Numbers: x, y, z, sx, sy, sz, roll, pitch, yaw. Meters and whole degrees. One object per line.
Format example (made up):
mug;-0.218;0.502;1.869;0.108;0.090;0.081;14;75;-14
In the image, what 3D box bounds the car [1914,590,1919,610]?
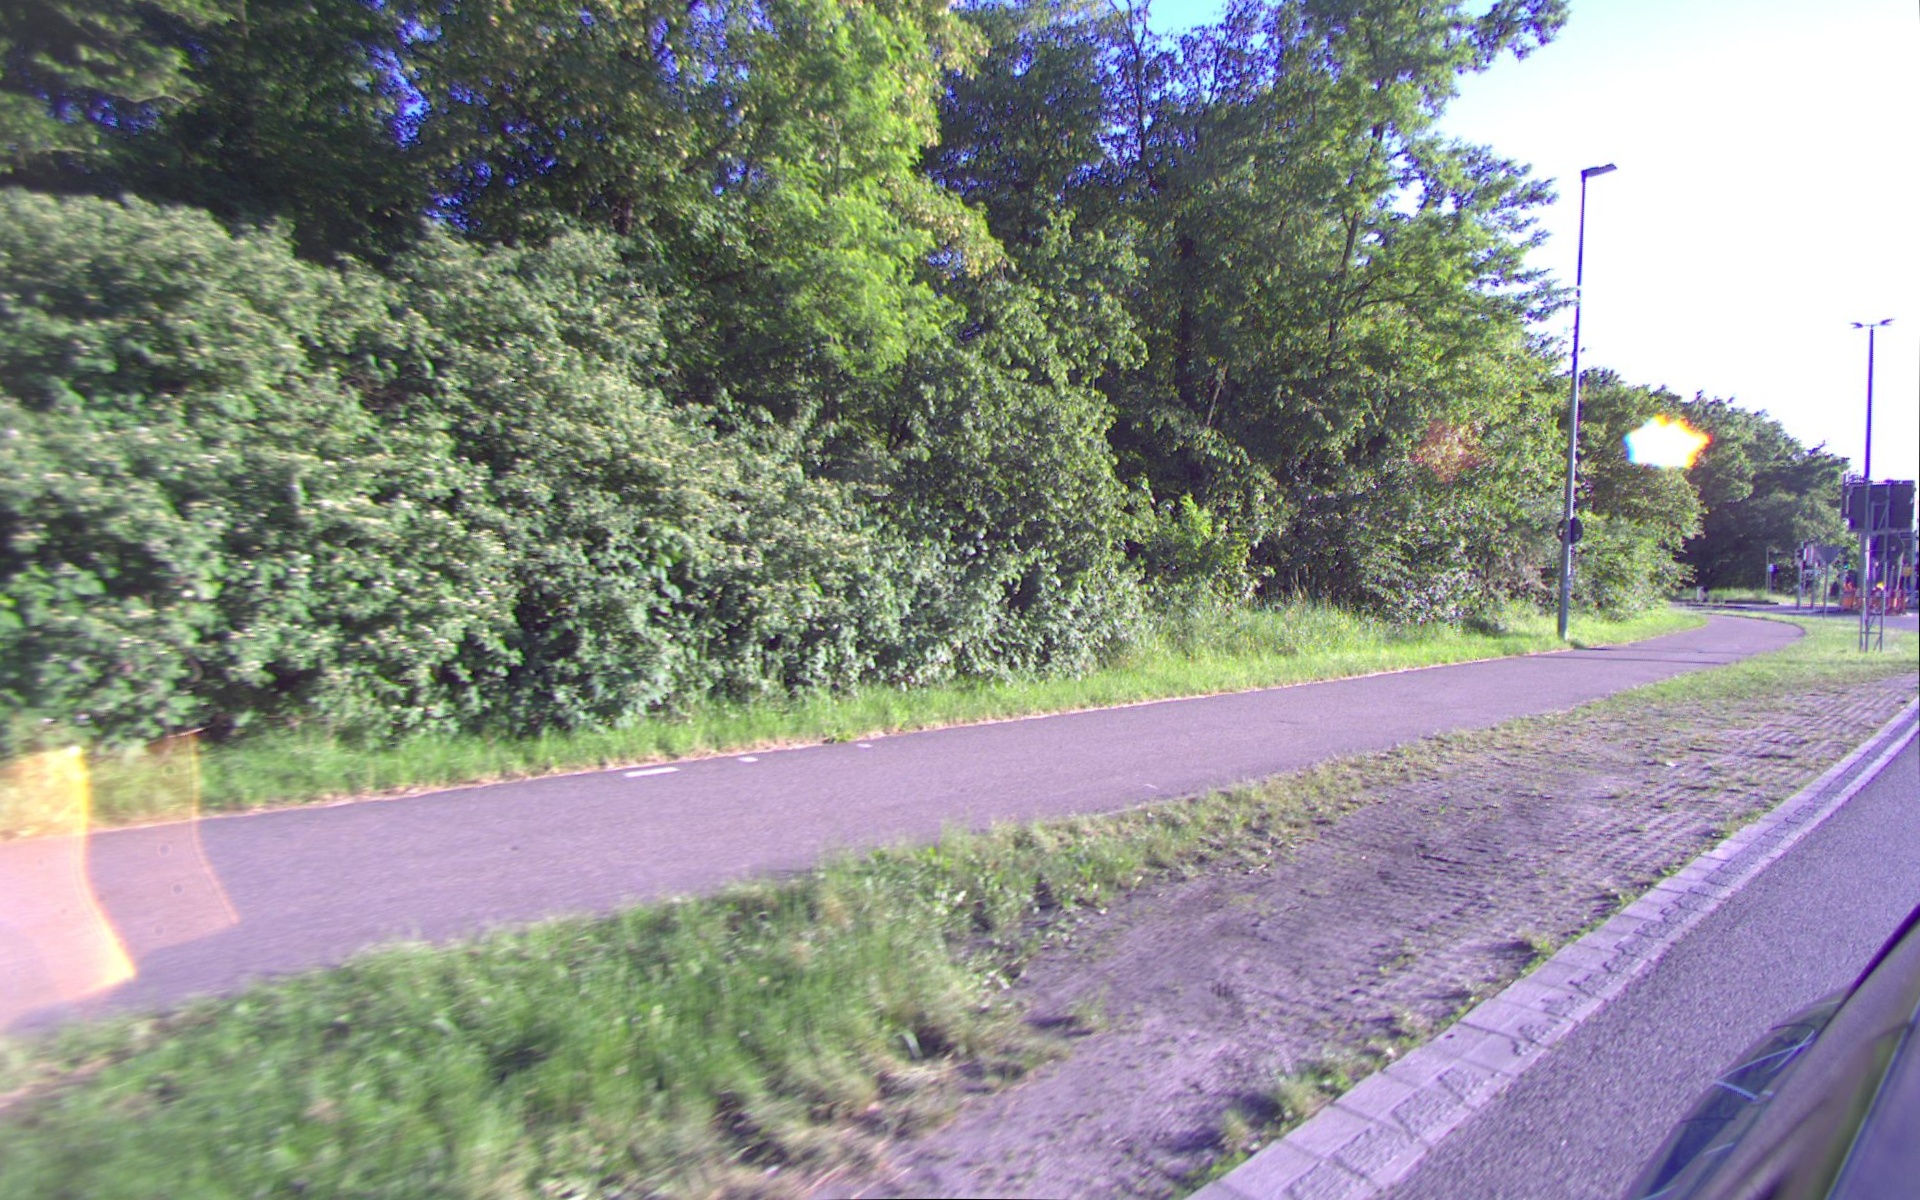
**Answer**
car;80.726;0.010;84.102;1.994;1.537;3.937;2;3;44
